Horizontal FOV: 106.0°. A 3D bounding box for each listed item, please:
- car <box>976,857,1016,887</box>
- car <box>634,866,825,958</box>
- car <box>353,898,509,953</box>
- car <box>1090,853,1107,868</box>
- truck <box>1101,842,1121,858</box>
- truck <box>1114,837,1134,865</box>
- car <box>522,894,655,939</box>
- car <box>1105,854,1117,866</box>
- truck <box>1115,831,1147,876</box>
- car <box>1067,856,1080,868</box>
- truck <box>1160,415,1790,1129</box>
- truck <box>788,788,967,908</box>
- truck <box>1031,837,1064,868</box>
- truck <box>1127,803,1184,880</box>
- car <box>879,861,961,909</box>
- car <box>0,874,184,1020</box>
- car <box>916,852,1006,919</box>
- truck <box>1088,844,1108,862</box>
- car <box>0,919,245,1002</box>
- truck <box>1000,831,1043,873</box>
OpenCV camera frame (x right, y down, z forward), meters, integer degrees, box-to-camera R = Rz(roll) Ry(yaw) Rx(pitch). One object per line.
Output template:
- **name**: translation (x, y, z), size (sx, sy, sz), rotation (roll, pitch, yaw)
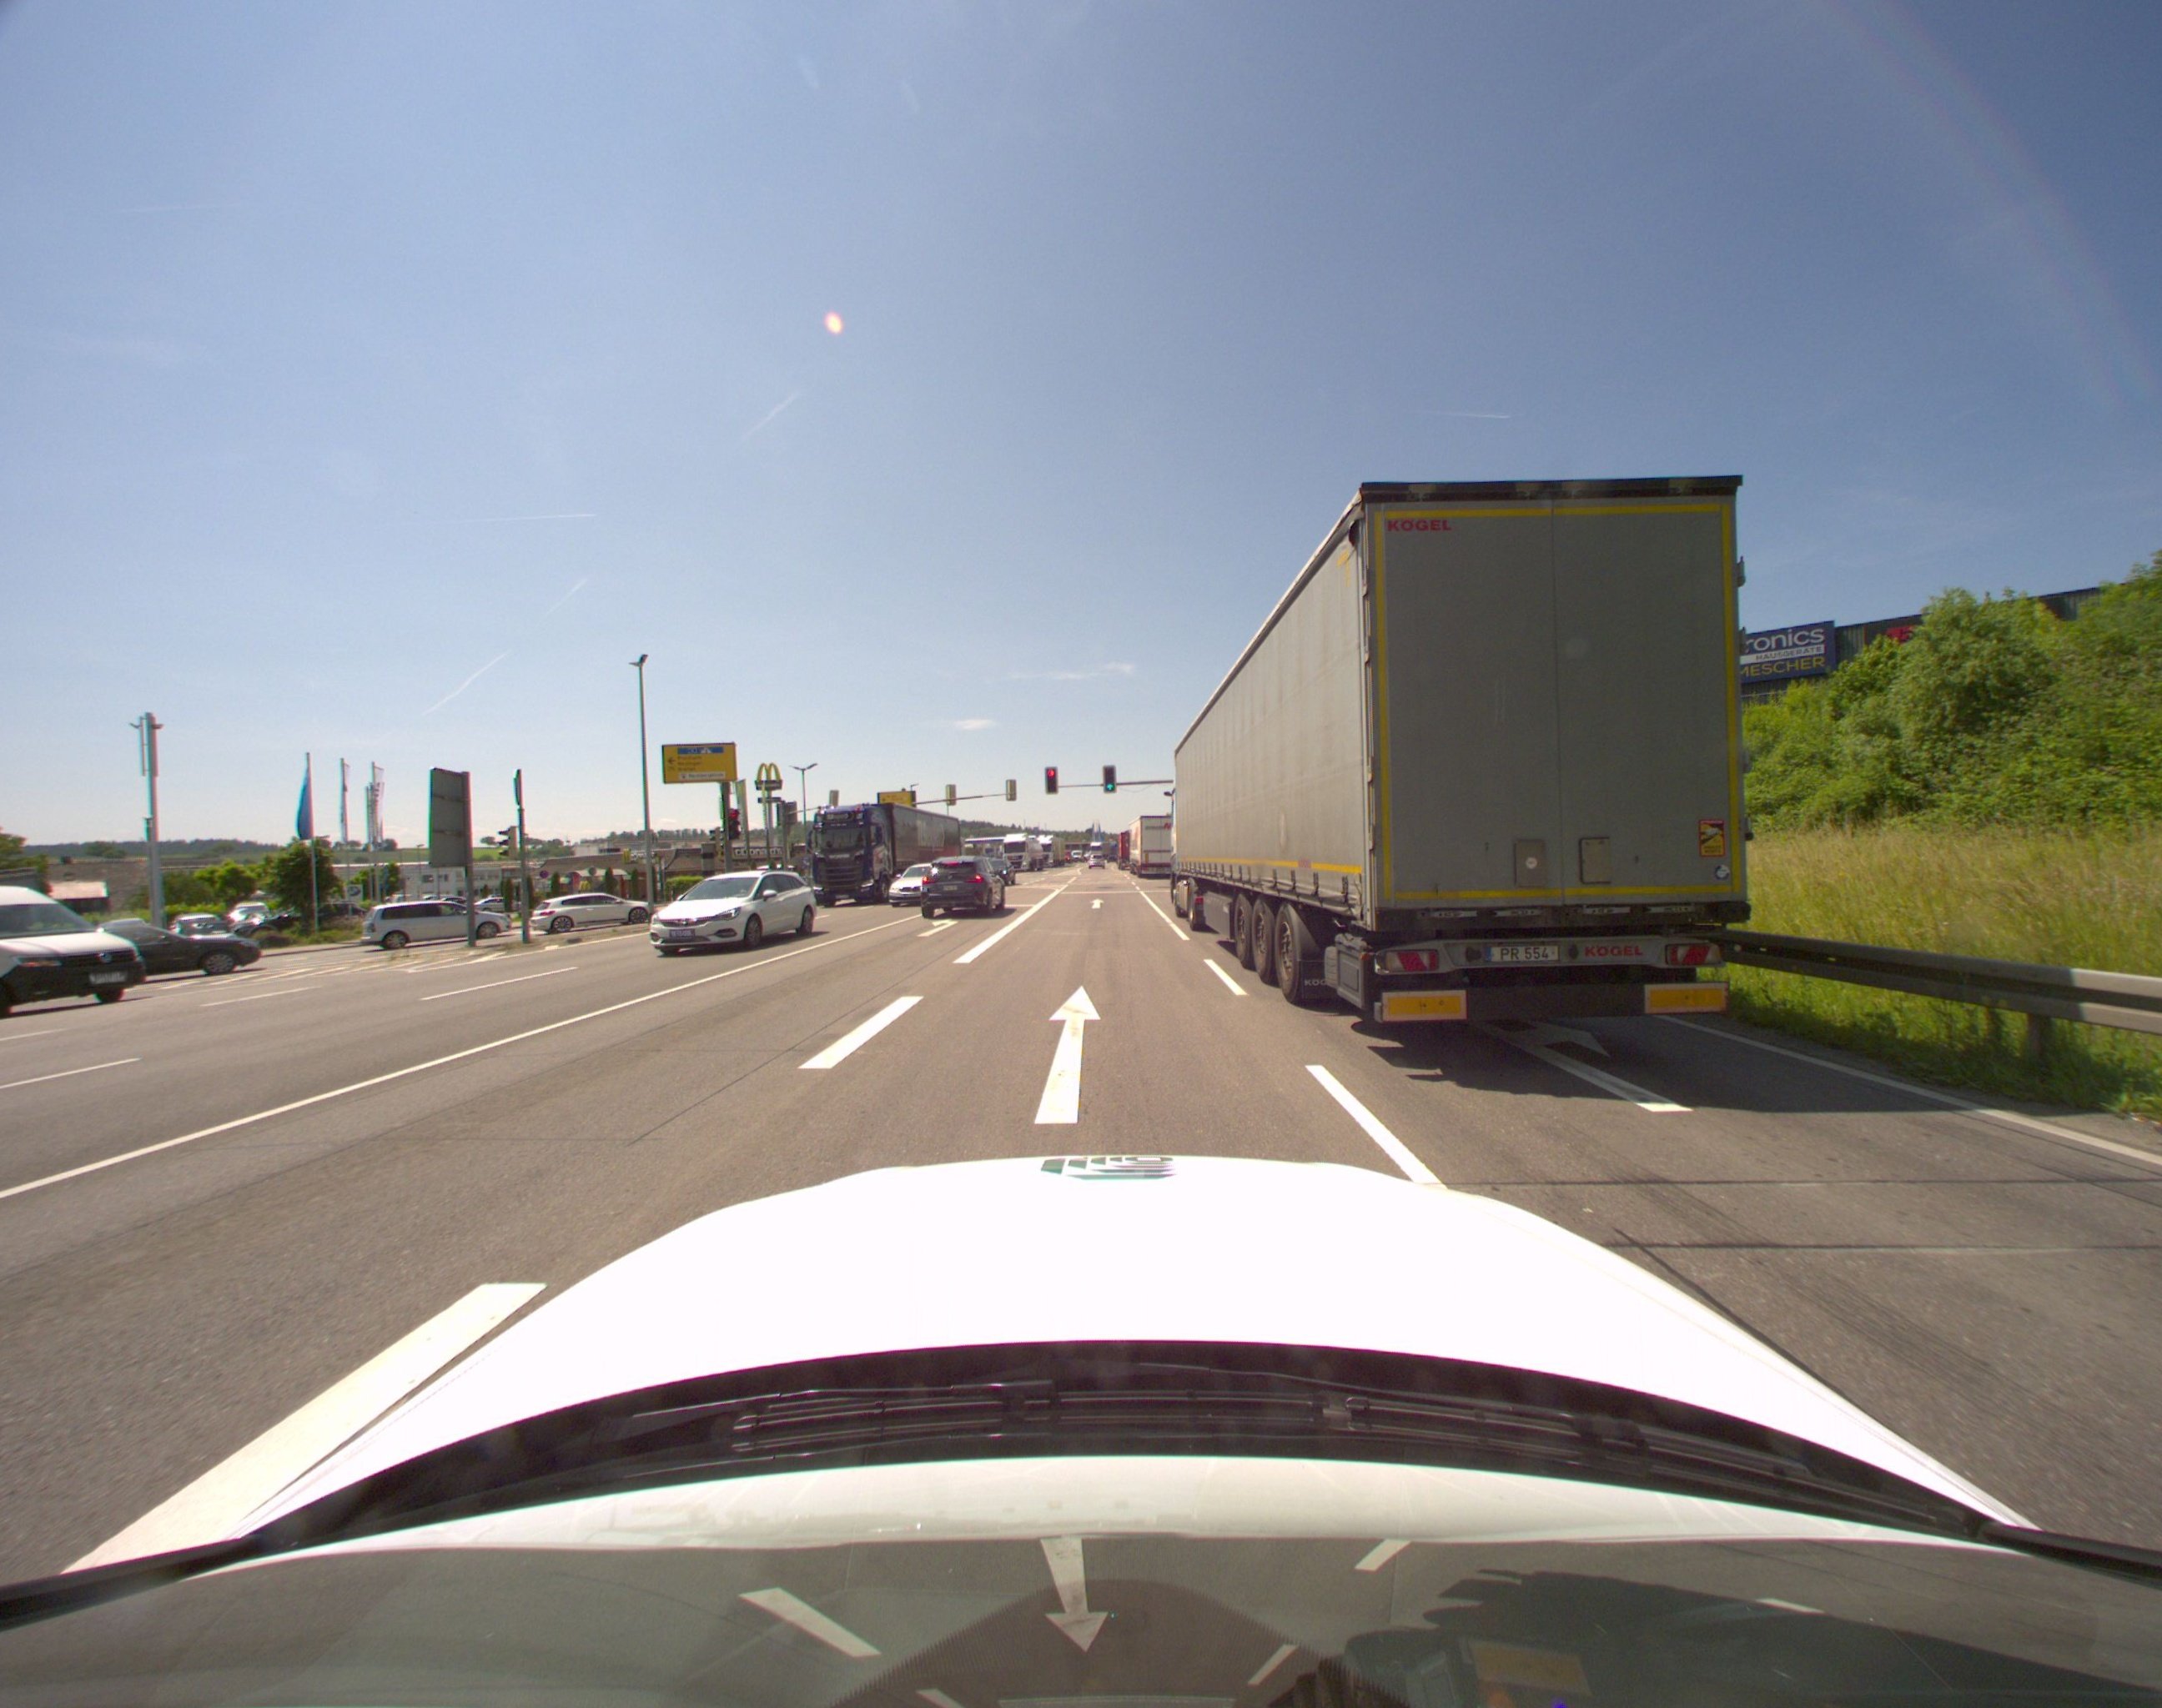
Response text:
- **car**: translation (-4.781, 0.986, 46.326), size (1.657, 1.508, 3.907), rotation (-3, 0, 3)
- **car**: translation (-6.908, 1.074, 16.576), size (1.733, 1.503, 4.408), rotation (-4, -1, 2)
- **car**: translation (-24.042, 2.573, 30.241), size (1.727, 1.601, 4.224), rotation (-3, -1, 41)
- **car**: translation (2.060, 0.705, 94.227), size (1.797, 1.670, 4.295), rotation (-1, -1, 3)
- **truck**: translation (8.034, -1.096, 215.377), size (3.251, 3.950, 13.903), rotation (-3, 0, 10)
- **truck**: translation (6.169, -0.399, 117.987), size (2.598, 3.717, 9.451), rotation (-1, -1, 2)
- **car**: translation (-18.787, 2.332, 31.187), size (1.767, 1.480, 4.038), rotation (-2, -2, 43)
- **car**: translation (5.542, 1.035, 148.869), size (1.984, 2.013, 4.005), rotation (-2, 0, 5)
- **truck**: translation (5.430, 0.155, 90.554), size (2.865, 4.479, 16.657), rotation (-1, -1, 1)
- **car**: translation (-1.396, 1.507, 152.518), size (1.896, 2.014, 4.005), rotation (-1, -1, 5)
- **truck**: translation (3.359, -0.374, 13.656), size (2.746, 4.639, 16.657), rotation (-1, -1, 1)
- **truck**: translation (-8.915, -0.226, 39.497), size (3.133, 4.349, 17.557), rotation (-3, 0, 3)
- **truck**: translation (-4.460, -0.162, 111.794), size (2.922, 3.950, 13.876), rotation (-3, 0, 3)
- **truck**: translation (5.010, -0.591, 58.268), size (2.865, 4.639, 16.657), rotation (-1, -1, 1)
- **car**: translation (-5.830, 1.072, 30.139), size (1.803, 1.508, 4.949), rotation (-3, 0, 2)
- **car**: translation (-21.626, 1.960, 15.543), size (5.981, 2.487, 2.192), rotation (-6, 0, -5)
- **car**: translation (-3.280, 0.818, 23.105), size (1.788, 1.627, 4.369), rotation (-3, 0, 0)
- **truck**: translation (3.985, -0.204, 191.829), size (3.253, 3.950, 13.890), rotation (-1, -1, 7)
- **car**: translation (-26.371, 2.838, 22.487), size (1.727, 1.600, 4.439), rotation (-4, 1, 41)
- **truck**: translation (-6.154, -0.197, 86.770), size (2.923, 3.950, 14.243), rotation (-3, 0, 2)
